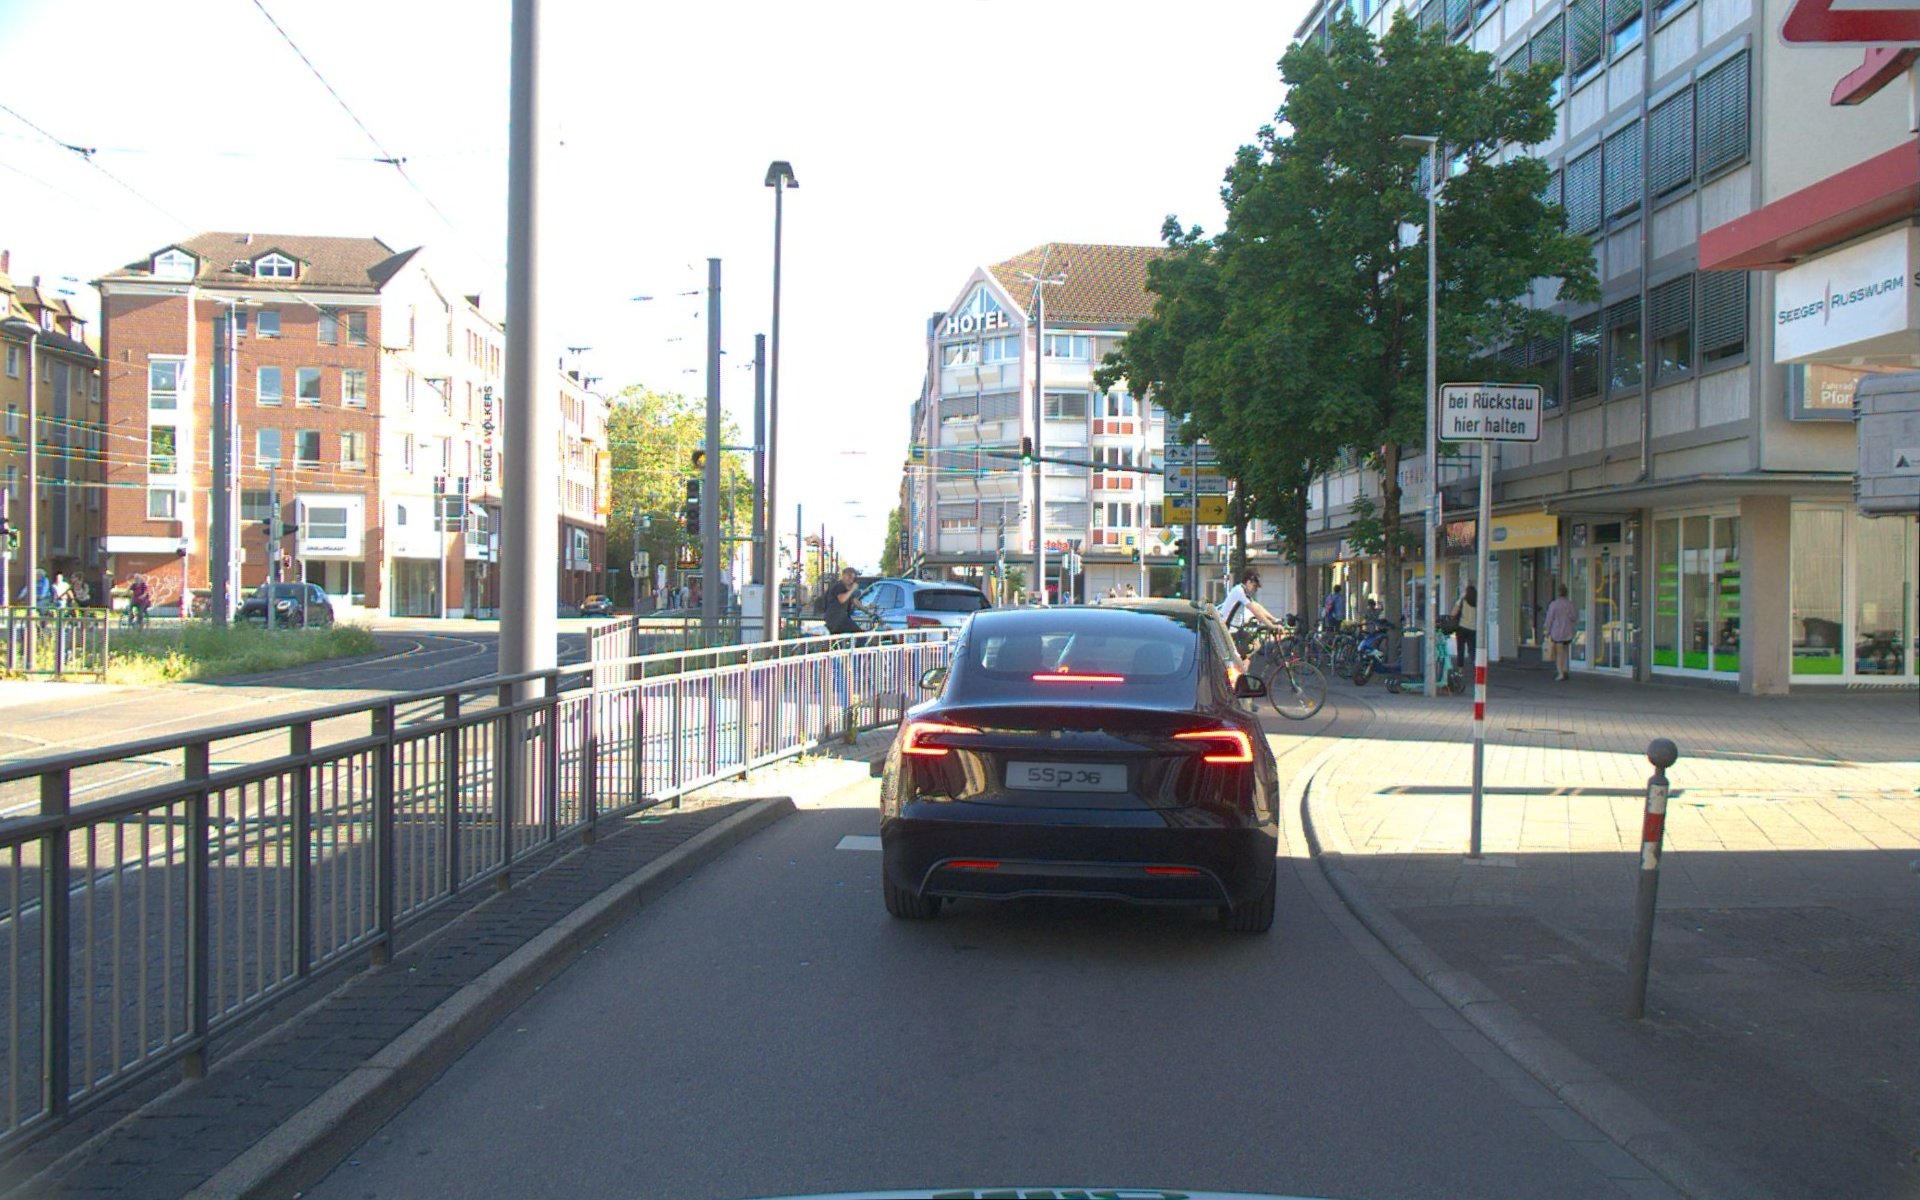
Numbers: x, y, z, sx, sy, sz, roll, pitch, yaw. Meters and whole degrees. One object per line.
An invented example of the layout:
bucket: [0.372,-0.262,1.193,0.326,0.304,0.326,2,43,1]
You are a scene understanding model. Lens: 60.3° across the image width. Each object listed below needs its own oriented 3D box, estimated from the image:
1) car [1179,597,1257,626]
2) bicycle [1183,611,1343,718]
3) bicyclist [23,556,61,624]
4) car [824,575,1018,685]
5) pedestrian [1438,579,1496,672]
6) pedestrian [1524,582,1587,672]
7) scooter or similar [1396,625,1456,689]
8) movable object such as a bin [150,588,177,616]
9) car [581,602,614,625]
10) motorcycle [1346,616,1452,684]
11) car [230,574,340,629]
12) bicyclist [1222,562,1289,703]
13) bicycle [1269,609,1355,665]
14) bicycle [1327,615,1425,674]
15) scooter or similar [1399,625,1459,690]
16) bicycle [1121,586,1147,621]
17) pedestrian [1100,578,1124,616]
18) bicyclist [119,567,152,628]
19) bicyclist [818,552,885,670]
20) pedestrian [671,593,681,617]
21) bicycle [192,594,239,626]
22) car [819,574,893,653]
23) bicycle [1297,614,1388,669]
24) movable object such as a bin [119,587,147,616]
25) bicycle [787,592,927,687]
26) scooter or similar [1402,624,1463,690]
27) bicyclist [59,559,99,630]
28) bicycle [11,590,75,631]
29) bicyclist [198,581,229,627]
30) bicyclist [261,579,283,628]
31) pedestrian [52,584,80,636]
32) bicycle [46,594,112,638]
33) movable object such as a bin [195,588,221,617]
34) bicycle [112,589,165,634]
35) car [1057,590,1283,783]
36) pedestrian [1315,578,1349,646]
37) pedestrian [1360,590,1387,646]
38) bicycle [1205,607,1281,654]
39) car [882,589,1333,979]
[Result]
car: [13.506,0.604,86.674,3.766,1.457,1.801,1,-2,-6]
bicycle: [3.616,0.769,19.793,1.784,1.233,0.582,1,-1,-3]
bicyclist: [-23.424,-0.256,42.203,0.510,1.702,0.770,1,-1,0]
car: [-0.690,0.457,26.785,1.818,1.663,3.455,1,0,-27]
pedestrian: [9.690,0.483,31.632,0.826,1.737,0.880,1,-1,-1]
pedestrian: [10.994,0.496,30.552,0.826,1.630,0.880,1,-1,-1]
scooter or similar: [7.721,0.948,27.402,0.943,1.045,0.160,0,0,2]
movable object such as a bin: [-41.514,0.101,86.183,0.978,1.462,1.093,1,0,-10]
car: [-25.145,0.929,114.801,1.782,1.479,3.972,-1,0,-7]
motorcycle: [7.771,0.880,29.299,1.751,1.149,0.504,1,-1,-3]
car: [-20.350,0.056,50.022,1.650,1.588,4.121,1,0,-1]
bicyclist: [3.534,0.387,19.810,0.667,1.659,0.578,1,-1,-3]
bicycle: [7.544,0.790,35.470,1.774,1.172,0.435,0,0,-5]
bicycle: [7.912,0.841,31.443,1.817,1.074,0.398,-1,0,-12]
scooter or similar: [7.716,0.937,27.202,0.936,1.057,0.160,0,0,2]
bicycle: [7.537,0.157,71.657,0.573,1.489,1.679,0,0,-16]
pedestrian: [6.573,-0.140,71.510,0.766,1.604,0.864,1,1,-16]
bicyclist: [-23.164,-0.076,46.493,0.510,1.702,0.770,1,-1,0]
bicyclist: [-1.457,0.150,22.180,0.674,1.550,0.628,1,-1,-32]
pedestrian: [-18.696,0.339,108.805,0.574,1.557,0.634,1,-1,-18]
bicycle: [-24.442,0.338,54.324,0.636,1.031,1.885,1,0,1]
car: [-2.287,0.287,36.903,1.541,1.646,3.781,1,0,-3]
bicycle: [7.730,0.829,33.438,1.730,1.075,0.458,1,-1,4]
movable object such as a bin: [-42.954,0.080,85.895,0.978,1.462,1.093,1,0,-10]
bicycle: [-1.375,0.525,22.228,1.802,1.233,0.635,1,-1,-32]
scooter or similar: [7.711,0.924,27.003,0.943,1.061,0.160,0,0,2]
bicyclist: [-21.314,-0.127,40.029,0.514,1.702,0.770,1,-1,1]
bicycle: [-23.433,0.271,42.300,0.519,1.031,1.885,1,0,1]
bicyclist: [-24.445,0.134,54.154,0.650,1.479,0.730,1,-1,0]
bicyclist: [-23.838,0.113,57.329,0.579,1.678,0.803,1,-1,-17]
pedestrian: [-29.721,0.329,54.987,0.613,1.717,0.703,1,1,-13]
bicycle: [-21.325,0.389,40.075,0.519,1.031,1.897,1,0,1]
movable object such as a bin: [-39.274,0.130,86.386,0.978,1.462,1.093,1,0,-10]
bicycle: [-23.165,0.327,46.670,0.519,1.235,1.885,1,0,1]
car: [1.788,0.656,15.152,1.727,1.469,4.531,1,0,4]
pedestrian: [9.784,0.318,43.539,0.825,1.751,0.881,1,-1,10]
pedestrian: [10.799,0.459,43.184,0.631,1.447,0.621,1,-1,10]
bicycle: [7.271,0.775,42.579,1.851,1.177,0.480,-1,-1,0]
car: [0.673,0.708,8.498,1.753,1.476,3.941,1,1,3]
